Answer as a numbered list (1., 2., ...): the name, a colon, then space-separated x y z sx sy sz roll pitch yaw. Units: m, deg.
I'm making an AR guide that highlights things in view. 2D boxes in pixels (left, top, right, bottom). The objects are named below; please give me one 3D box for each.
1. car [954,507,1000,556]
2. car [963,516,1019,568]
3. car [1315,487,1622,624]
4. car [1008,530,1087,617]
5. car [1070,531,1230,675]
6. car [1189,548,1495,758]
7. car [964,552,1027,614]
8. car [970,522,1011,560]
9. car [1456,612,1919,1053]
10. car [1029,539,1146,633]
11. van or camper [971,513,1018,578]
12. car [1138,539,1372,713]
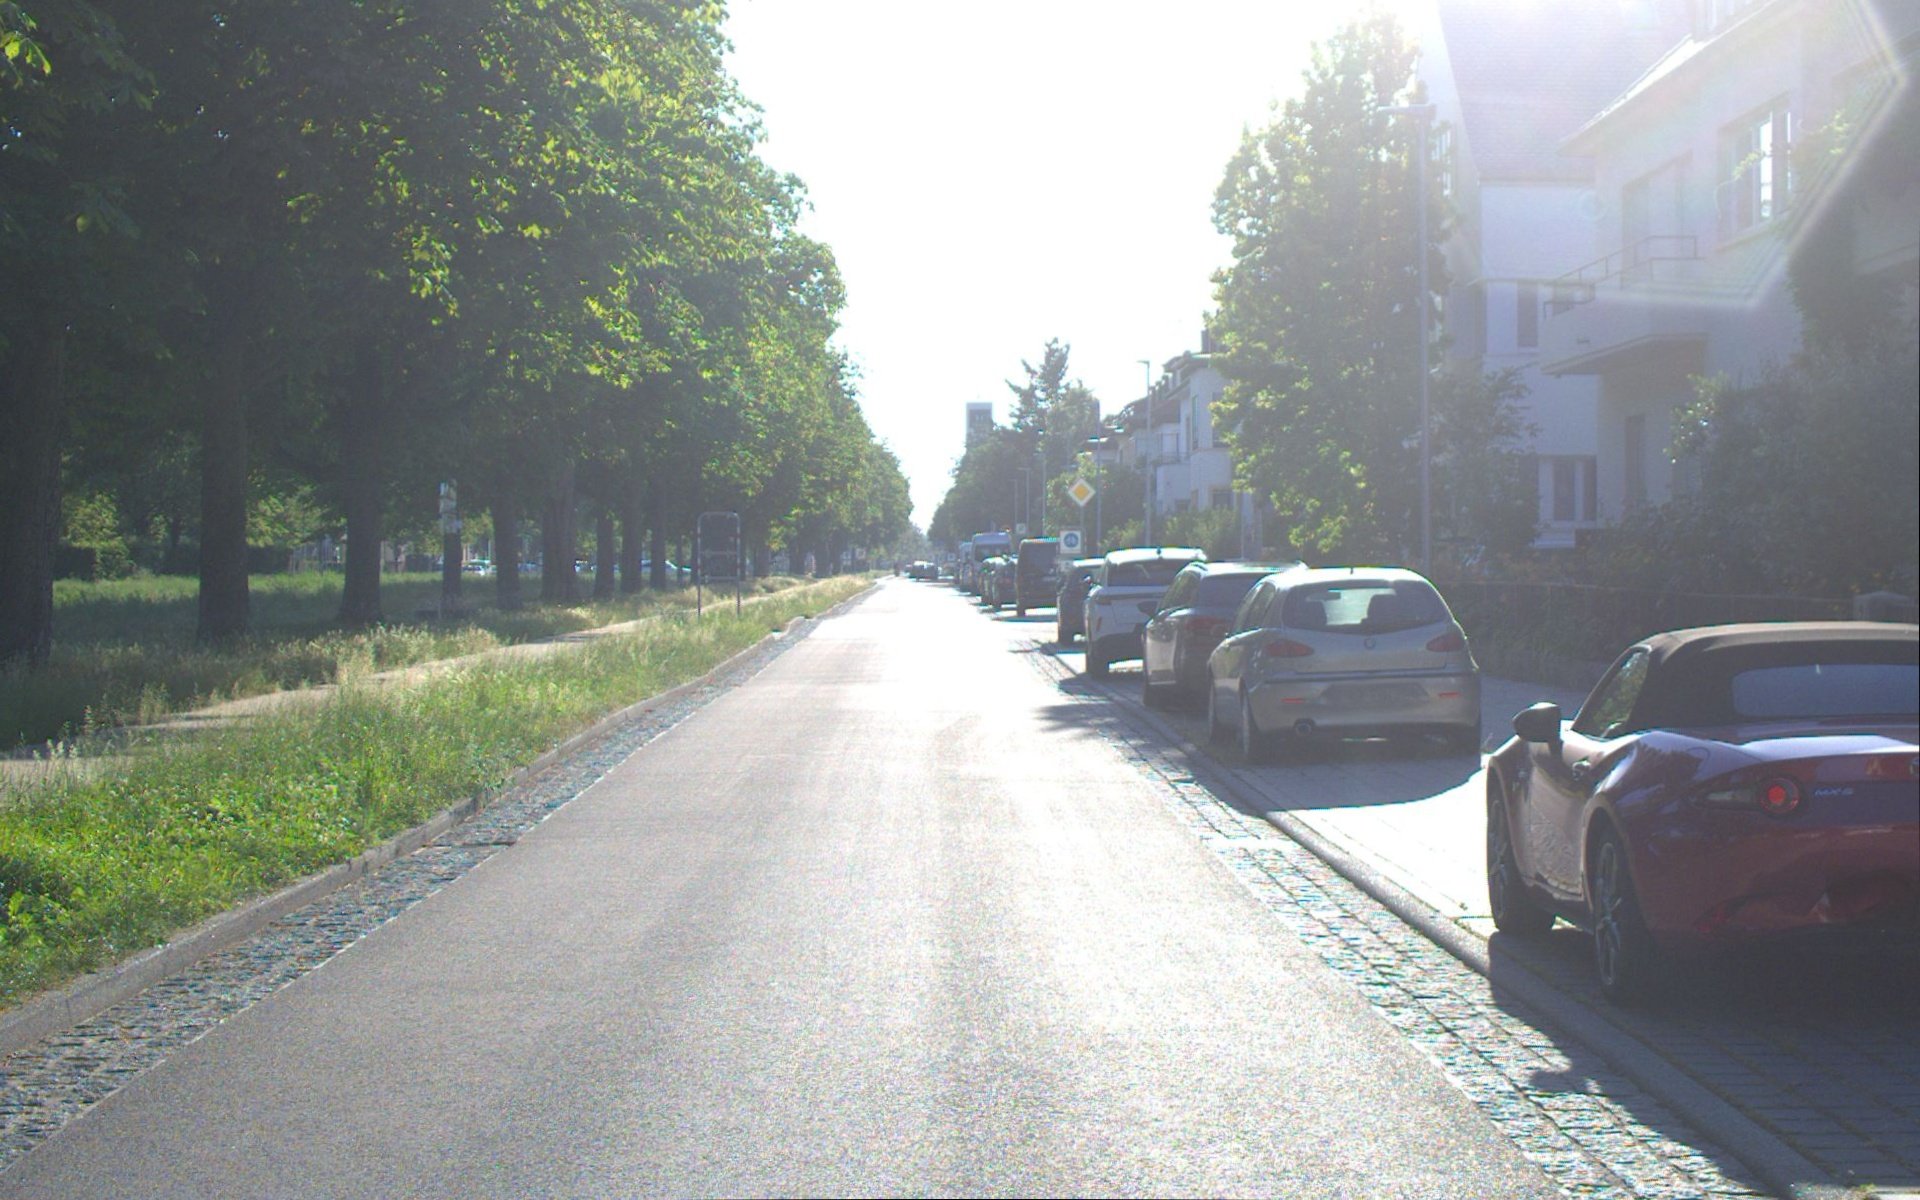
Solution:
1. car: 0.872 -3.639 182.223 2.126 2.524 5.189 -2 1 -2
2. car: 1.065 -2.019 118.821 1.832 1.679 4.415 1 2 0
3. car: 7.266 -0.657 49.351 3.982 1.838 1.816 1 2 -6
4. car: 2.279 -0.734 90.442 1.906 2.124 4.814 -2 1 1
5. car: 2.433 0.045 44.741 1.905 1.702 4.574 -2 0 2
6. car: 2.839 0.344 26.364 1.794 1.375 4.079 -2 1 -1
7. car: 1.088 -0.551 106.614 1.794 1.765 4.473 -2 1 -1
8. car: 1.265 -2.496 145.585 1.663 1.587 4.086 1 1 0
9. car: 2.943 0.711 12.351 1.698 1.253 3.880 -1 1 -1
10. car: 2.192 -0.273 60.185 1.794 1.477 4.124 -2 1 -1
11. van or camper: 1.503 -2.381 151.918 1.943 2.768 5.940 1 0 0
12. car: 2.783 0.198 33.216 1.794 1.489 4.194 -2 1 -1
